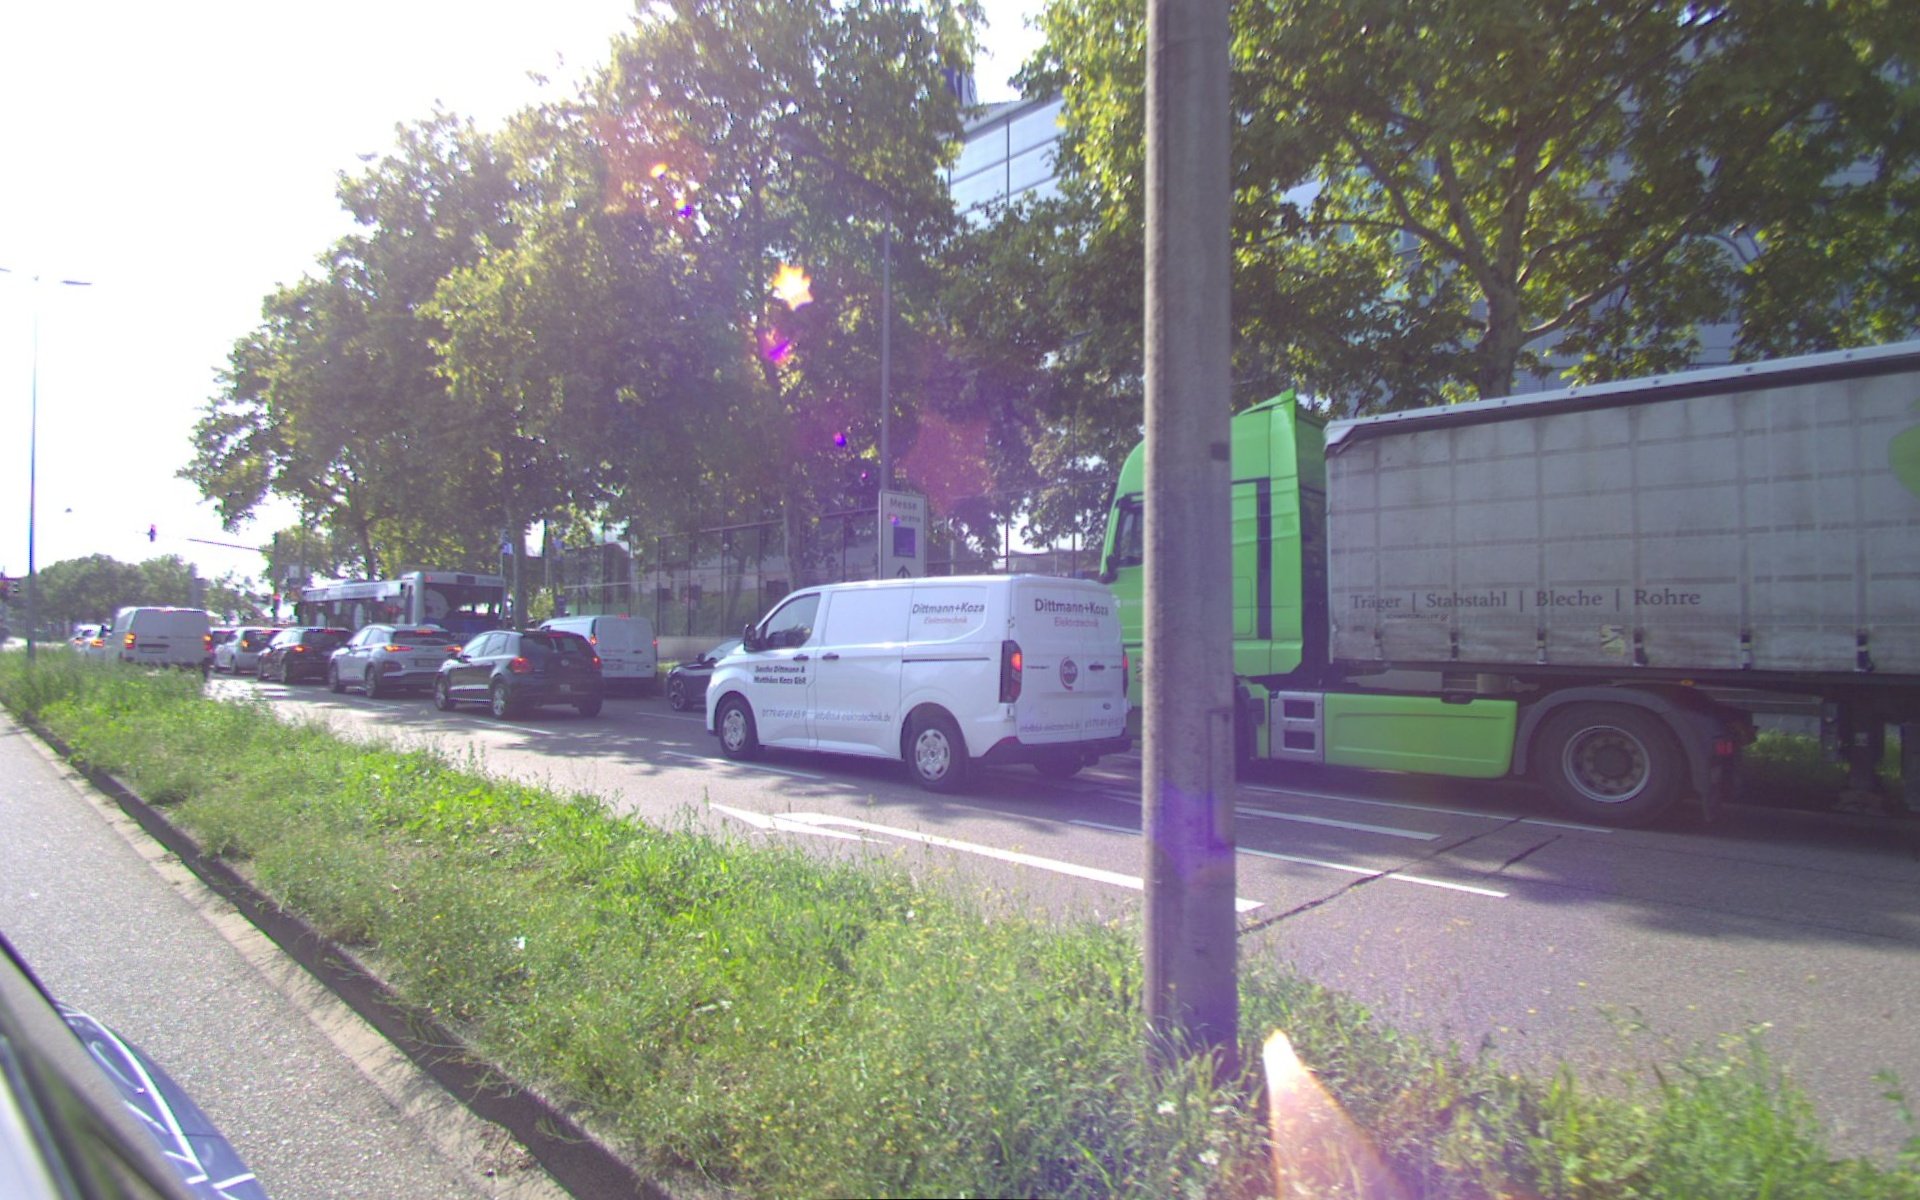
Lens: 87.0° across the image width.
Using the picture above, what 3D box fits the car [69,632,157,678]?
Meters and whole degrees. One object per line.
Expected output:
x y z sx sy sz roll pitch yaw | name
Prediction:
-27.467 1.785 32.761 4.084 1.413 1.690 -3 -5 44 | car

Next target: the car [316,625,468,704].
-12.393 1.353 21.981 4.141 1.540 1.676 -1 -4 44 | car

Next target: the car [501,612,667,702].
-8.867 1.286 23.646 4.750 1.902 1.684 -1 -4 44 | car

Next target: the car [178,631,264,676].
-25.881 1.858 35.400 4.001 1.453 1.687 -1 -4 44 | car

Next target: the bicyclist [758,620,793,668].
-5.625 1.340 30.857 0.840 1.450 0.641 -2 -3 43 | bicyclist

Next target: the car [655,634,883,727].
-3.484 1.352 17.945 4.481 1.422 1.629 -1 -4 43 | car

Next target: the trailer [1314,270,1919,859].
9.183 -0.235 5.595 13.813 3.851 2.604 -1 -4 44 | trailer

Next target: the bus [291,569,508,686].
-18.139 0.847 32.110 12.315 3.103 2.561 -1 -2 44 | bus

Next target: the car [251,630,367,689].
-17.303 1.541 26.837 4.191 1.444 1.628 -1 -4 44 | car

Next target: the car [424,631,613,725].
-7.607 1.261 17.262 3.859 1.409 1.596 -1 -4 45 | car

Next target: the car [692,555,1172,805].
-0.526 0.697 10.440 5.036 1.968 1.971 -2 -2 43 | car

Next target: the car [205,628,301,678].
-22.301 1.659 31.894 3.822 1.478 1.687 -1 -4 44 | car

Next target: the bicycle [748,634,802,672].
-5.653 1.602 30.856 1.800 1.116 0.641 -2 -3 43 | bicycle

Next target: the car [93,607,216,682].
-22.009 1.227 27.580 4.890 1.878 1.890 -2 -4 43 | car

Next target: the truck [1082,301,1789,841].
4.389 -0.116 10.165 5.892 3.849 2.579 -1 -4 43 | truck
